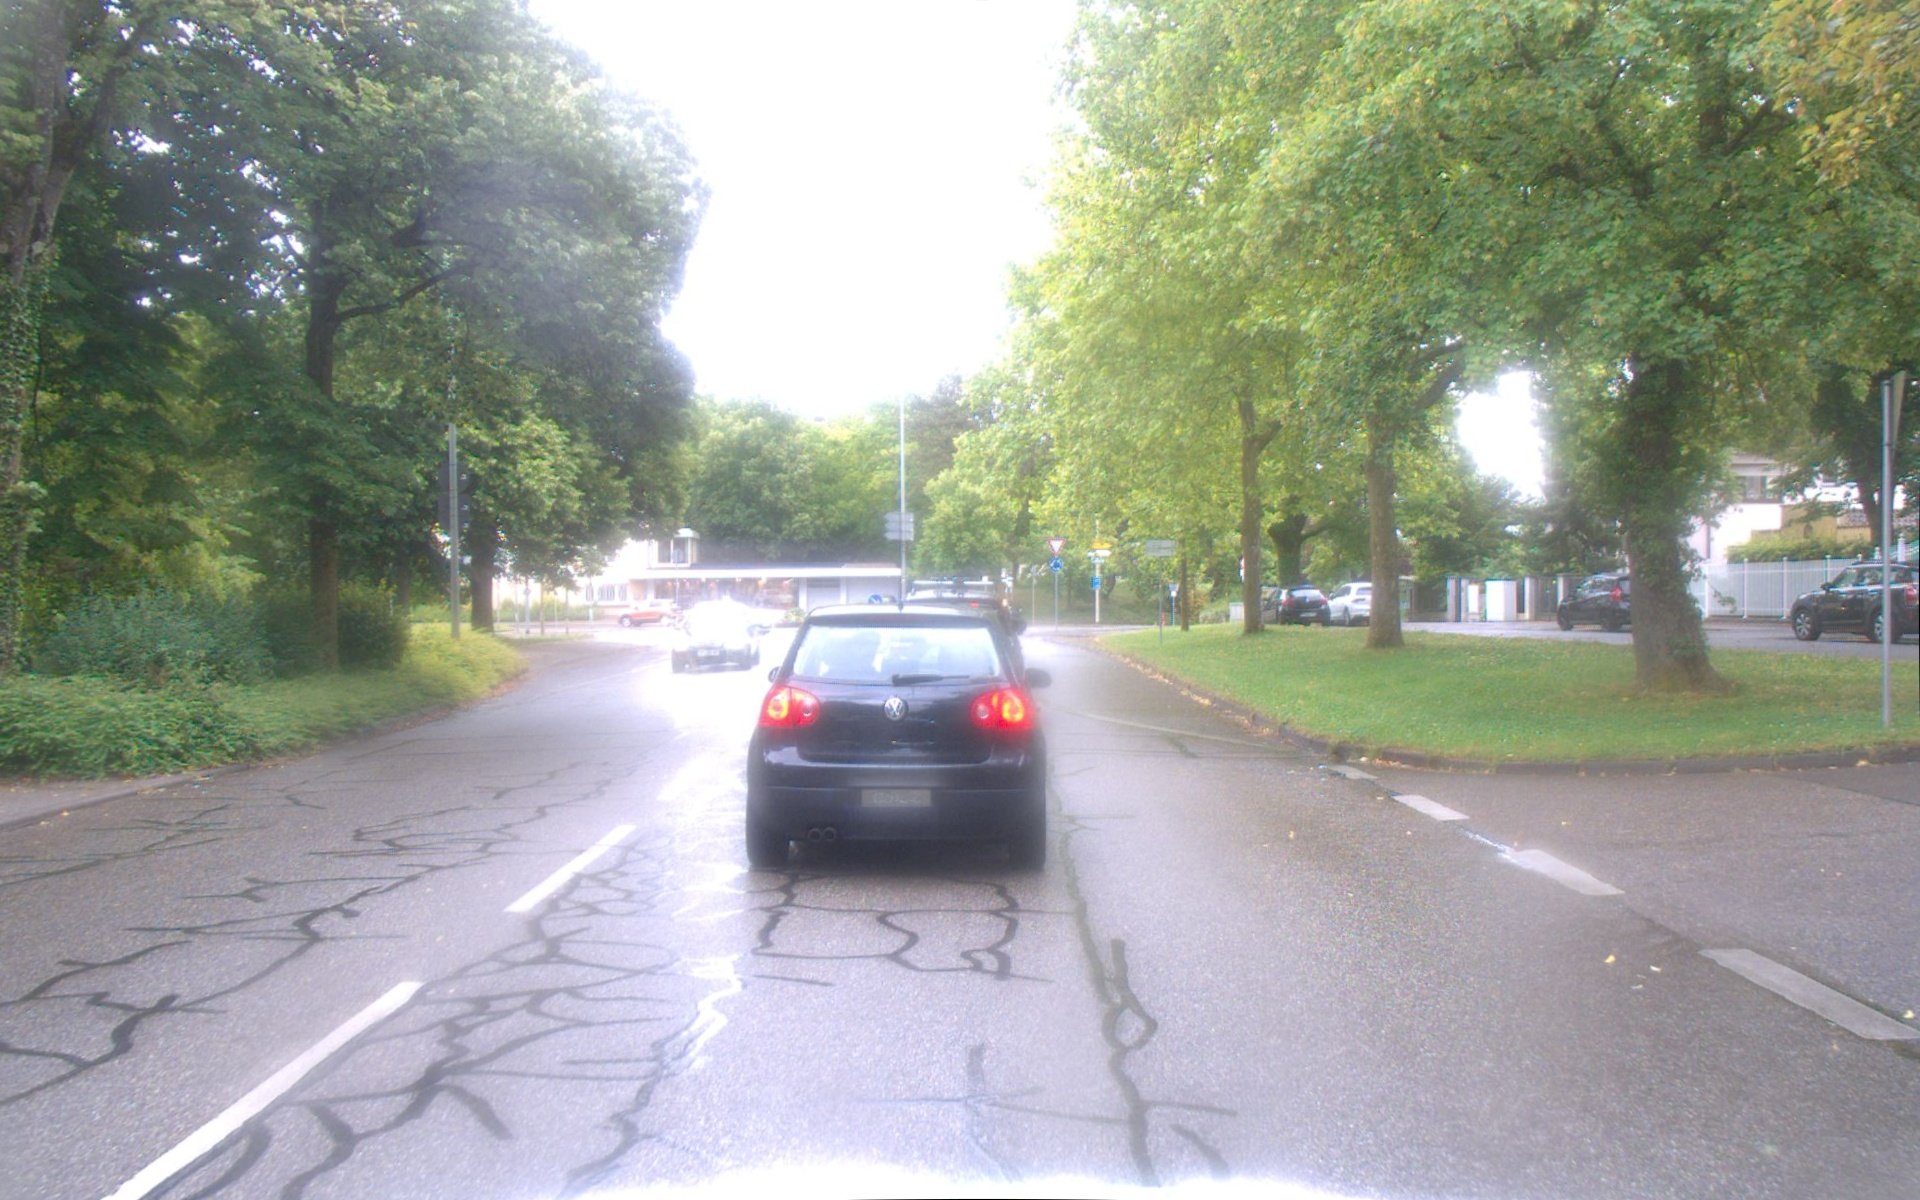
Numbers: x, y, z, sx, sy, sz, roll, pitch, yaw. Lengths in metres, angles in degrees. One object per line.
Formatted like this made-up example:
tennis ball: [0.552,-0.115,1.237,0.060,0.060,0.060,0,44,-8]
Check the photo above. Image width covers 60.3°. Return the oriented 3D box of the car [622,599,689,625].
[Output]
car: [-18.478,0.734,100.464,3.583,1.539,1.713,-1,-1,7]

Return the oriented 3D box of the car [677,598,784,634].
car: [-10.087,0.696,72.605,4.411,1.444,1.844,-2,0,30]

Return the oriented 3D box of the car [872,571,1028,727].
car: [-0.104,0.598,21.547,1.817,1.816,4.000,-1,-1,0]

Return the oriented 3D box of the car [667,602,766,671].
car: [-5.509,0.787,37.867,1.761,1.417,3.977,-3,0,-2]

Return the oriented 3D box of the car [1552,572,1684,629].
car: [17.770,-0.017,44.848,1.766,1.436,4.110,-2,1,-3]

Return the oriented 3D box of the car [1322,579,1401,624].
car: [13.992,0.029,57.845,1.766,1.430,4.000,-2,0,0]

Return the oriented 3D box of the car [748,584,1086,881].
car: [-0.210,0.685,10.539,1.762,1.542,3.754,0,0,0]

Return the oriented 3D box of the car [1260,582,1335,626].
car: [11.694,0.116,57.524,1.766,1.409,4.000,-2,0,0]

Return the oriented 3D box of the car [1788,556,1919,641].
car: [18.390,-0.064,32.752,1.766,1.556,4.110,-2,1,-3]
